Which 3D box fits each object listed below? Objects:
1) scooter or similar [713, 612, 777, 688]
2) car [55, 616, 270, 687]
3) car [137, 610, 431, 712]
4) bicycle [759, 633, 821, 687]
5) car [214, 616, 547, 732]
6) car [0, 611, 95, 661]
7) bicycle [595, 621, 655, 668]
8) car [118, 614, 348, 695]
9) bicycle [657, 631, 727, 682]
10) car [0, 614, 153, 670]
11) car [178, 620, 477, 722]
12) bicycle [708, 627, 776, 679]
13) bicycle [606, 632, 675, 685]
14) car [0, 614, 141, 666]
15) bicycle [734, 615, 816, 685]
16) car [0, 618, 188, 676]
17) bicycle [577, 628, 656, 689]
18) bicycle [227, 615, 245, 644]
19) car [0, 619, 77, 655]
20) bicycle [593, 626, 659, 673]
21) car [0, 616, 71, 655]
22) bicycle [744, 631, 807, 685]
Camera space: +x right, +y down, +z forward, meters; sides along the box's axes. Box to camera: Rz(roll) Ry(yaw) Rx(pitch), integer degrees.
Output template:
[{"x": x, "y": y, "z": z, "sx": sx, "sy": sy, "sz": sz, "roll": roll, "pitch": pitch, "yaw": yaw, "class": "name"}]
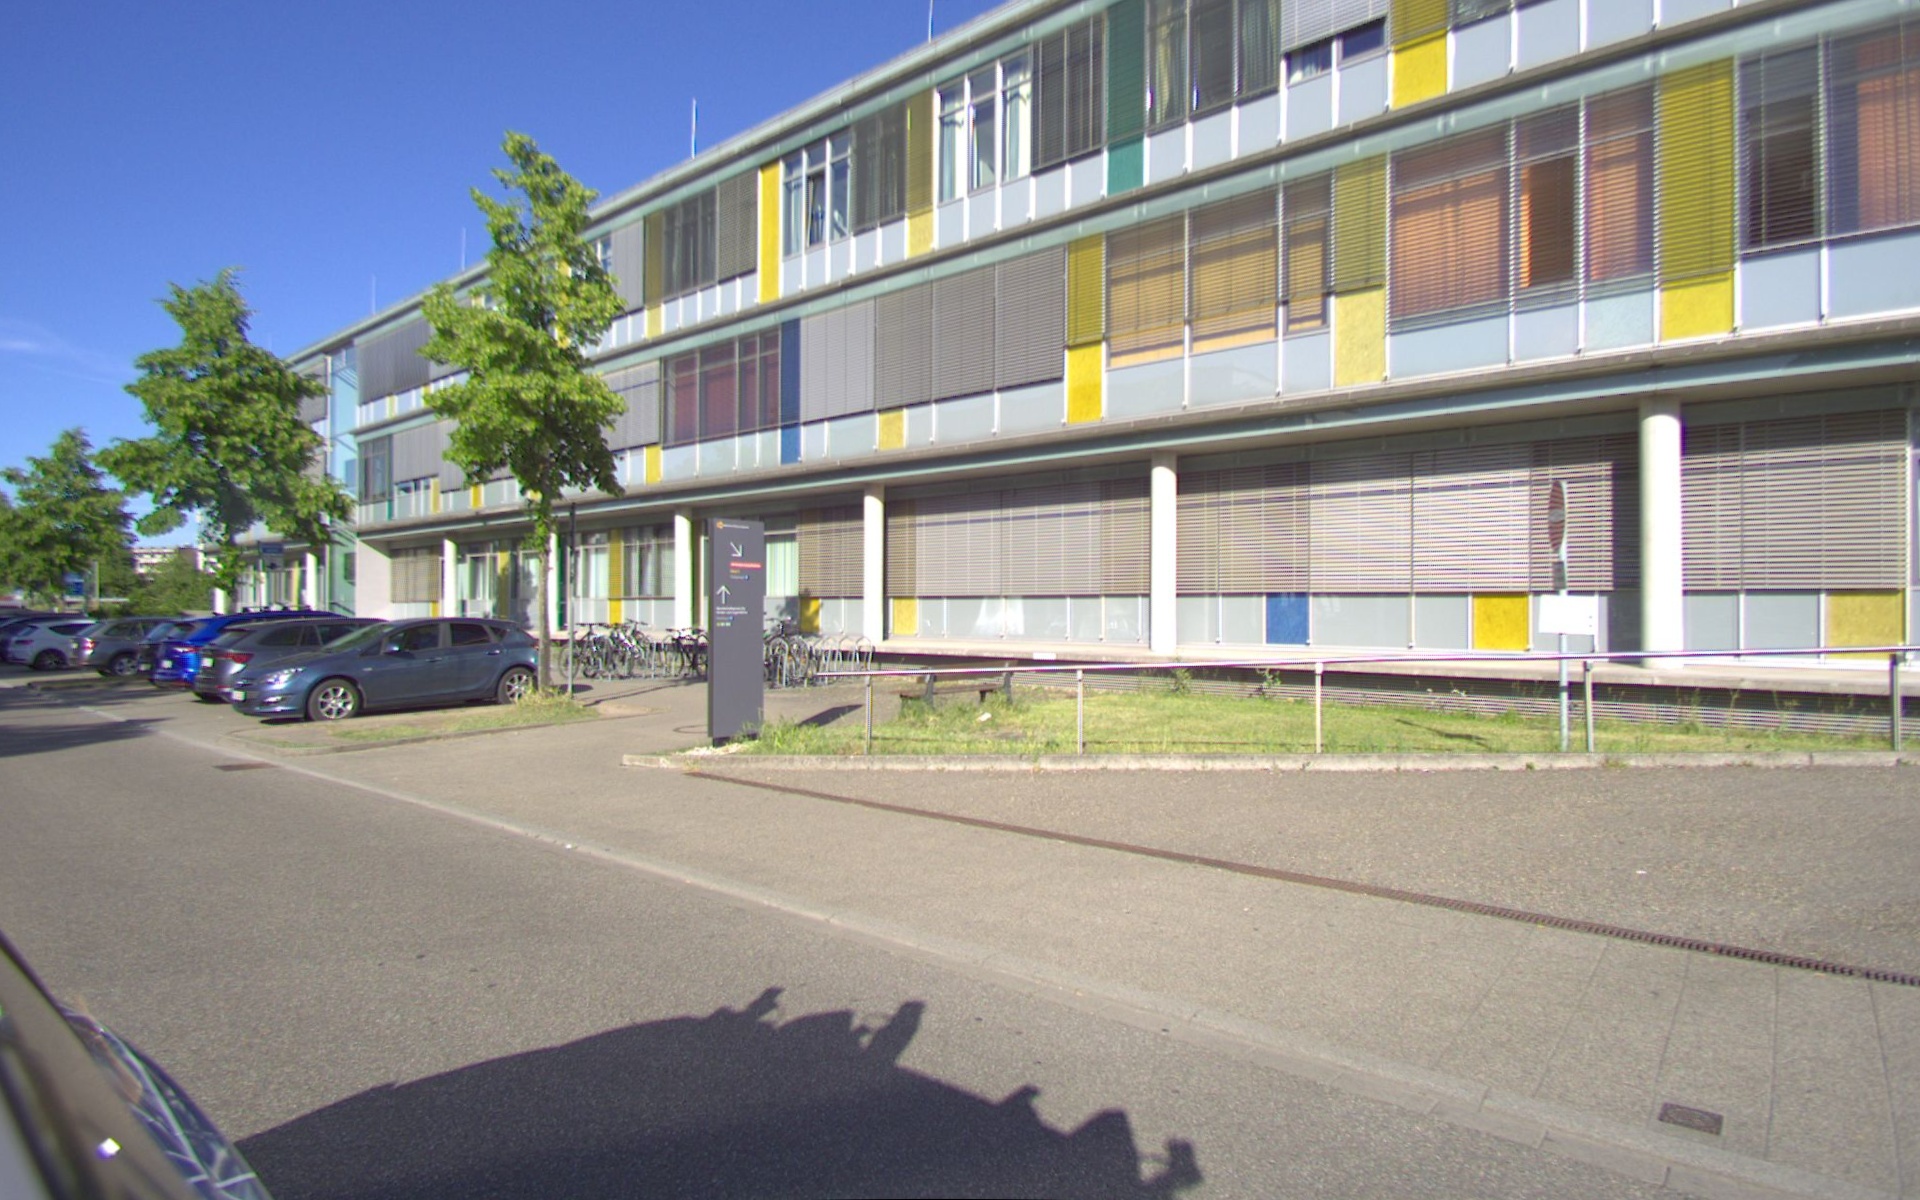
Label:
[{"x": -3.765, "y": 0.864, "z": 17.701, "sx": 1.205, "sy": 1.283, "sz": 0.465, "roll": -1, "pitch": -2, "yaw": 42, "class": "scooter or similar"}, {"x": -20.025, "y": 1.216, "z": 25.536, "sx": 1.821, "sy": 1.499, "sz": 3.943, "roll": 0, "pitch": 1, "yaw": 38, "class": "car"}, {"x": -12.437, "y": 1.021, "z": 18.855, "sx": 1.957, "sy": 1.664, "sz": 4.181, "roll": -1, "pitch": -1, "yaw": 37, "class": "car"}, {"x": -3.425, "y": 1.189, "z": 20.350, "sx": 1.393, "sy": 1.030, "sz": 0.349, "roll": -1, "pitch": -2, "yaw": 35, "class": "bicycle"}, {"x": -8.708, "y": 1.012, "z": 15.507, "sx": 1.752, "sy": 1.478, "sz": 4.091, "roll": -1, "pitch": -1, "yaw": 39, "class": "car"}, {"x": -37.385, "y": 1.435, "z": 40.213, "sx": 1.999, "sy": 1.877, "sz": 4.303, "roll": -1, "pitch": 0, "yaw": 41, "class": "car"}, {"x": -9.044, "y": 1.180, "z": 27.275, "sx": 1.854, "sy": 1.208, "sz": 0.640, "roll": -1, "pitch": -2, "yaw": 39, "class": "bicycle"}, {"x": -15.839, "y": 1.116, "z": 22.231, "sx": 1.773, "sy": 1.499, "sz": 3.712, "roll": 0, "pitch": 1, "yaw": 32, "class": "car"}, {"x": -5.574, "y": 1.152, "z": 20.980, "sx": 1.778, "sy": 1.023, "sz": 0.443, "roll": -1, "pitch": -2, "yaw": 39, "class": "bicycle"}, {"x": -29.965, "y": 1.347, "z": 33.844, "sx": 1.996, "sy": 1.639, "sz": 4.310, "roll": 0, "pitch": 1, "yaw": 36, "class": "car"}, {"x": -10.539, "y": 1.090, "z": 17.101, "sx": 1.728, "sy": 1.448, "sz": 3.949, "roll": -1, "pitch": -1, "yaw": 37, "class": "car"}, {"x": -4.982, "y": 1.184, "z": 23.087, "sx": 1.854, "sy": 1.144, "sz": 0.443, "roll": -1, "pitch": -2, "yaw": 39, "class": "bicycle"}, {"x": -6.493, "y": 1.170, "z": 20.508, "sx": 1.778, "sy": 1.023, "sz": 0.422, "roll": -1, "pitch": -2, "yaw": 39, "class": "bicycle"}, {"x": -32.098, "y": 1.386, "z": 35.944, "sx": 1.996, "sy": 1.602, "sz": 4.310, "roll": -1, "pitch": 0, "yaw": 36, "class": "car"}, {"x": -3.404, "y": 0.925, "z": 18.565, "sx": 1.647, "sy": 1.056, "sz": 0.349, "roll": -11, "pitch": -8, "yaw": 35, "class": "bicycle"}, {"x": -25.505, "y": 1.310, "z": 29.824, "sx": 1.821, "sy": 1.433, "sz": 4.052, "roll": 0, "pitch": 1, "yaw": 38, "class": "car"}, {"x": -6.820, "y": 1.133, "z": 20.063, "sx": 1.778, "sy": 1.151, "sz": 0.629, "roll": -1, "pitch": -2, "yaw": 39, "class": "bicycle"}, {"x": -30.094, "y": 1.217, "z": 42.076, "sx": 0.455, "sy": 1.104, "sz": 1.517, "roll": -1, "pitch": 2, "yaw": -30, "class": "bicycle"}, {"x": -41.325, "y": 1.613, "z": 44.002, "sx": 2.001, "sy": 1.471, "sz": 4.299, "roll": -1, "pitch": 1, "yaw": 45, "class": "car"}, {"x": -8.256, "y": 1.201, "z": 24.972, "sx": 1.854, "sy": 1.104, "sz": 0.640, "roll": -1, "pitch": -2, "yaw": 39, "class": "bicycle"}, {"x": -43.421, "y": 1.637, "z": 46.098, "sx": 2.001, "sy": 1.659, "sz": 4.299, "roll": -1, "pitch": 1, "yaw": 45, "class": "car"}, {"x": -3.663, "y": 1.128, "z": 20.012, "sx": 1.393, "sy": 1.030, "sz": 0.349, "roll": -1, "pitch": -2, "yaw": 35, "class": "bicycle"}]
